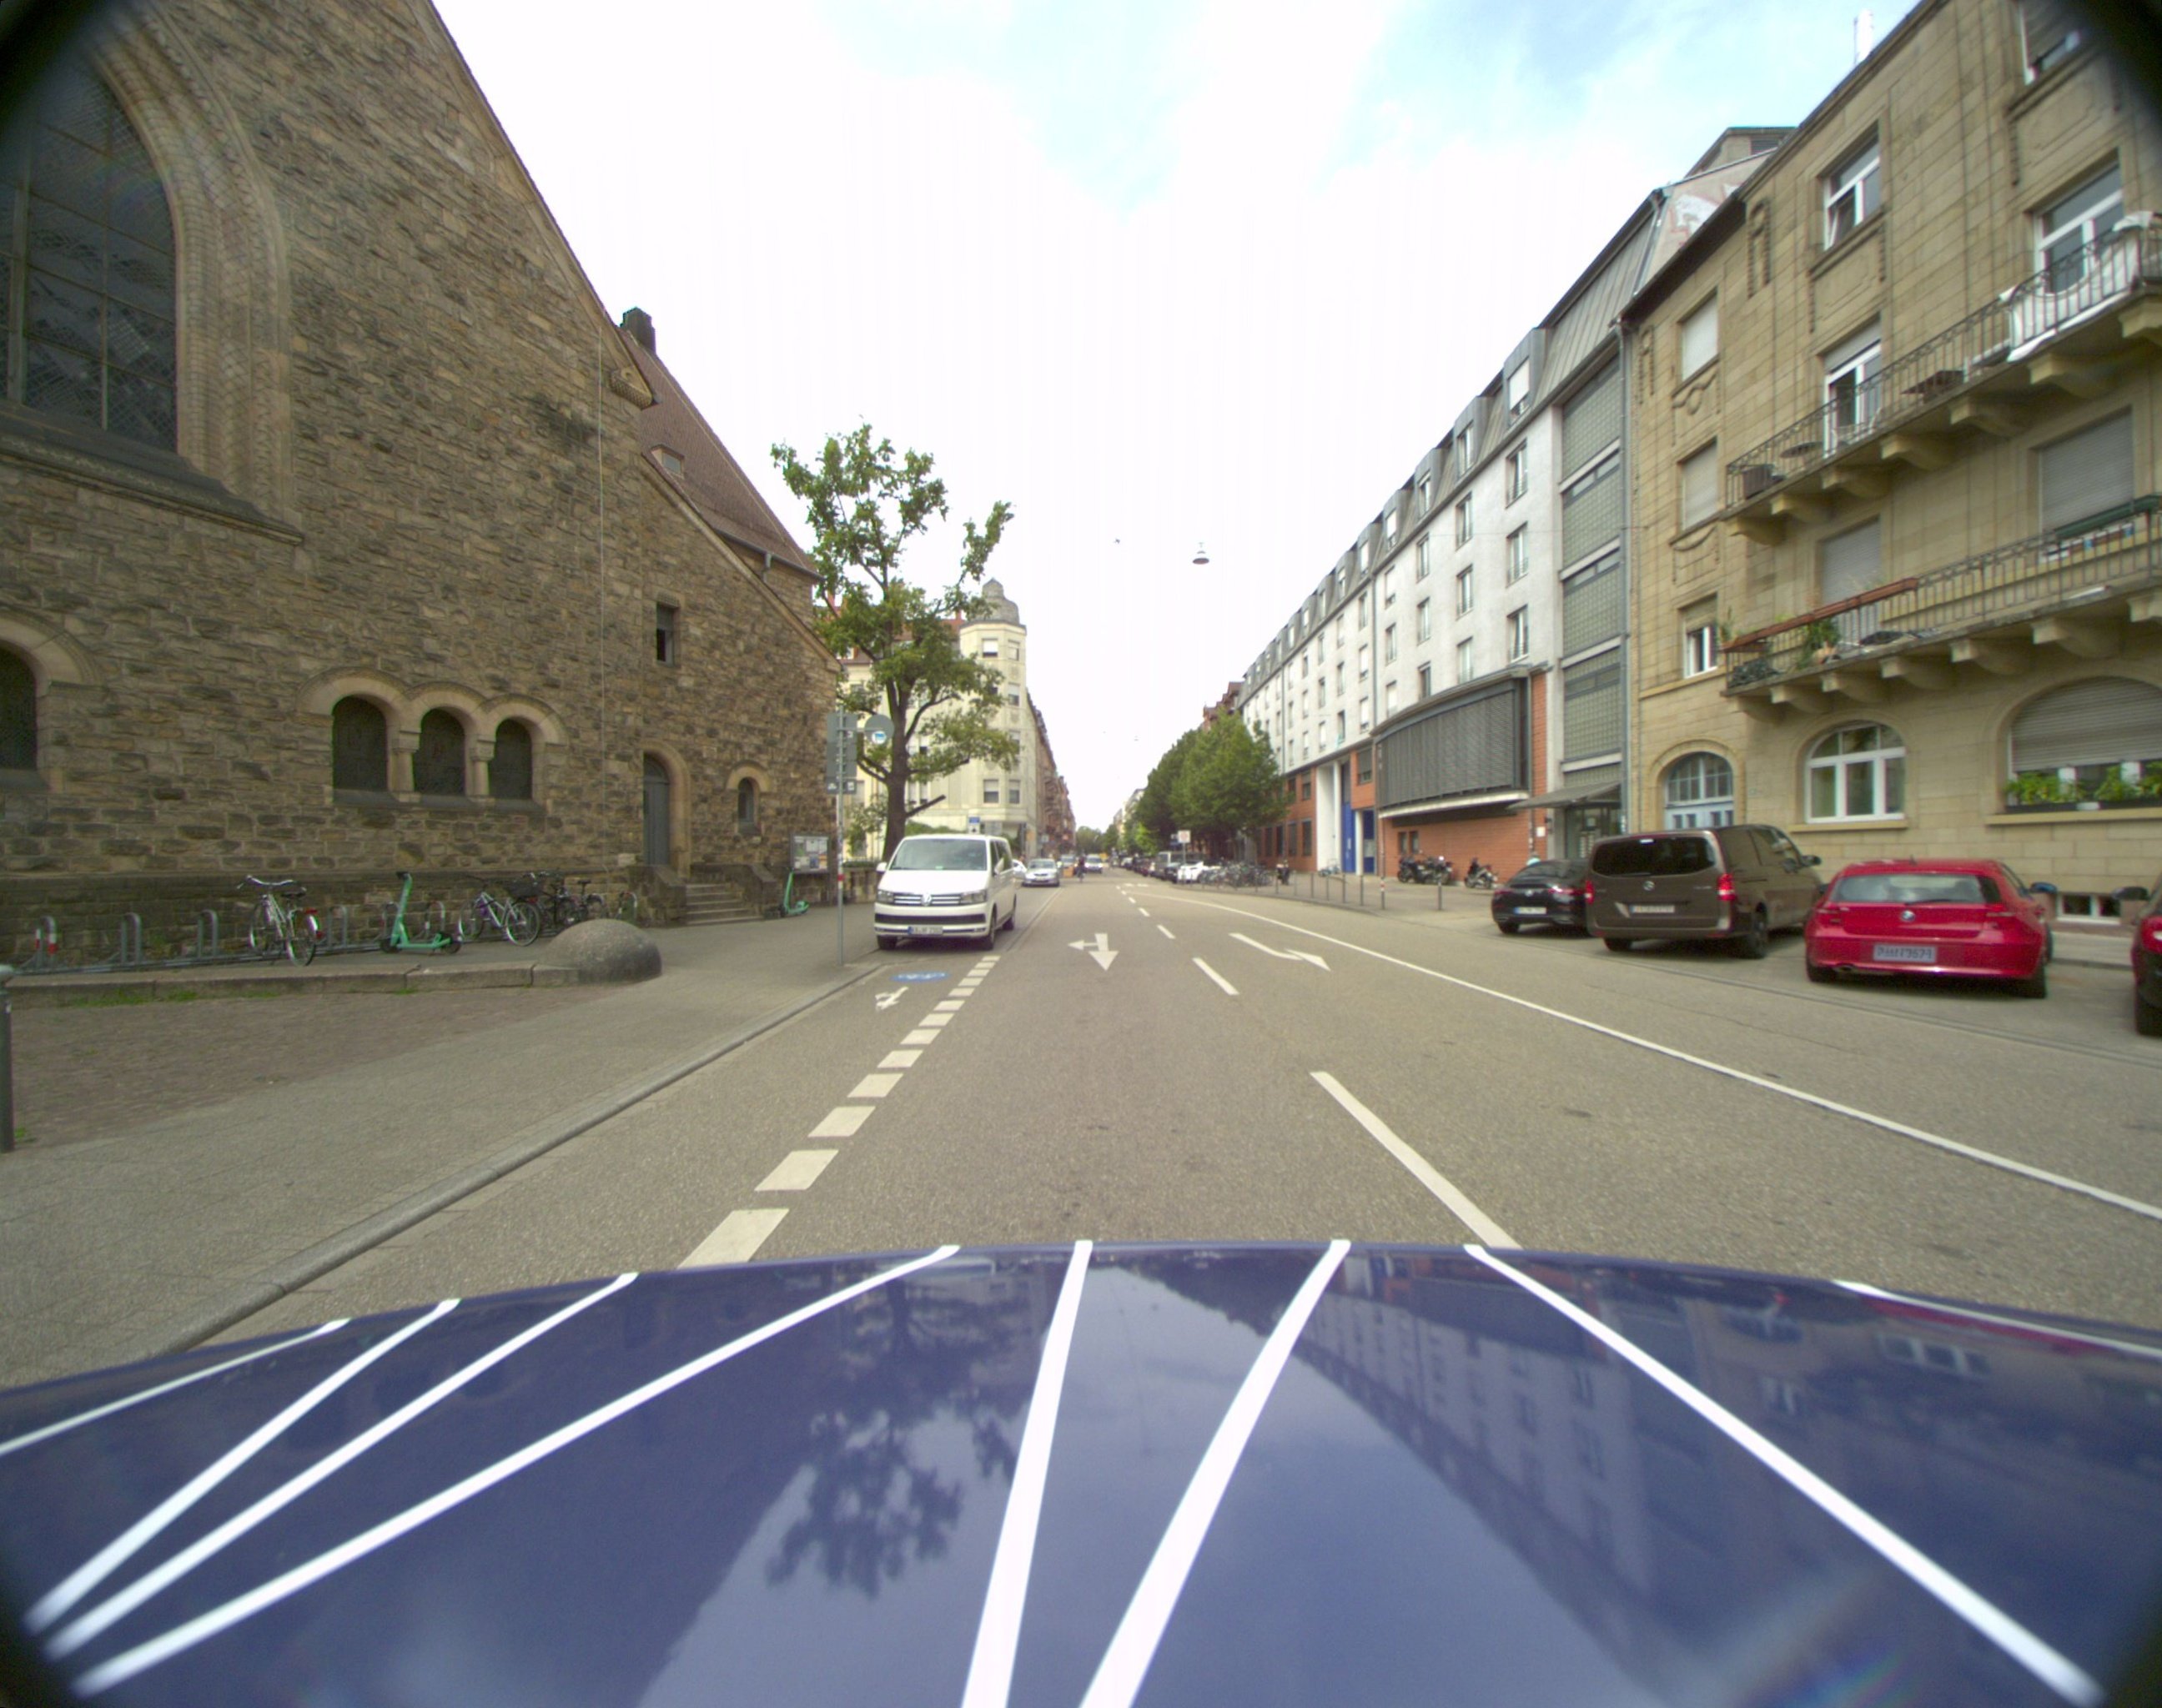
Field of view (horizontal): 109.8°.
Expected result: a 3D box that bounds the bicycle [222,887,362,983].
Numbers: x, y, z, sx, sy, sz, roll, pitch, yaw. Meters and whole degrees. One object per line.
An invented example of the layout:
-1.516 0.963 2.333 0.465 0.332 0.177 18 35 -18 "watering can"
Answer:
-10.047 0.996 9.671 1.778 1.105 0.547 0 0 20 "bicycle"

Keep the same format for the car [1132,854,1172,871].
7.782 0.942 83.216 4.052 1.846 1.687 -1 -1 -32 "car"

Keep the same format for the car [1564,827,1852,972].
10.236 0.574 12.270 5.280 1.899 2.116 -1 0 -33 "car"

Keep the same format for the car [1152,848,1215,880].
7.126 0.682 52.719 4.011 1.986 1.857 -3 1 -30 "car"

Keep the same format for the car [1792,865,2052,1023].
10.091 0.864 9.035 4.020 1.401 1.792 -1 0 -38 "car"

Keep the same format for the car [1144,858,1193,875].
7.361 1.054 63.887 4.012 1.381 1.592 -1 -1 -32 "car"

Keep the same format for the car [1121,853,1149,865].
8.094 0.755 114.371 4.012 1.746 1.687 -1 -1 -32 "car"

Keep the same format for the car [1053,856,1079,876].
-1.298 1.090 68.049 1.853 1.661 4.008 -1 -1 5 "car"

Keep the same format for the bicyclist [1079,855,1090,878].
0.205 0.754 47.213 0.649 1.408 1.094 -1 0 2 "bicyclist"

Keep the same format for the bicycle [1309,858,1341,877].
14.177 0.786 44.218 1.613 0.920 0.932 -6 -1 13 "bicycle"

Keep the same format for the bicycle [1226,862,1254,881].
8.582 0.937 40.977 1.409 1.020 0.402 -1 0 3 "bicycle"

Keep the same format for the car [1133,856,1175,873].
7.440 1.046 76.893 4.012 1.558 1.687 -1 -1 -32 "car"

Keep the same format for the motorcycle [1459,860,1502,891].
14.222 0.758 27.088 0.585 1.042 1.794 -2 0 2 "motorcycle"

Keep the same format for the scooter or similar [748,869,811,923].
-7.156 0.981 18.094 0.545 1.200 1.483 0 0 21 "scooter or similar"

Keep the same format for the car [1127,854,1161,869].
7.979 0.951 96.339 4.012 1.846 1.687 -1 -1 -32 "car"

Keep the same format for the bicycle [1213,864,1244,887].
7.136 1.052 36.762 1.409 1.032 0.402 -3 0 3 "bicycle"

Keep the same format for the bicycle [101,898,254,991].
-10.497 1.018 8.824 1.778 0.951 0.547 0 0 20 "bicycle"

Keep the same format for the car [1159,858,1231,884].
7.082 1.022 46.936 4.324 1.460 1.713 -1 0 -33 "car"

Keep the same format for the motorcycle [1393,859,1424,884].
14.310 0.756 33.209 0.585 1.042 1.657 -2 0 0 "motorcycle"

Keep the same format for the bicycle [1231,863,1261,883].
8.506 0.972 39.208 1.409 1.020 0.402 -1 0 3 "bicycle"

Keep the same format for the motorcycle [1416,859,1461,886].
14.462 0.733 30.789 0.585 1.042 1.965 -2 0 -10 "motorcycle"

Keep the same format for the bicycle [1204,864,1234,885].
7.044 1.042 38.766 1.409 1.032 0.402 -3 0 3 "bicycle"

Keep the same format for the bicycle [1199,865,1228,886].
7.082 1.132 40.681 1.409 1.020 0.402 -3 0 3 "bicycle"

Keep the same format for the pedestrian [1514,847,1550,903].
12.104 0.567 20.407 0.662 1.477 0.509 -1 0 -9 "pedestrian"

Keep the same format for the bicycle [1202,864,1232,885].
7.050 1.065 39.408 1.409 1.020 0.402 -3 0 3 "bicycle"

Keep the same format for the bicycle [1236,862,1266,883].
8.581 0.942 38.389 1.409 1.020 0.402 -1 0 3 "bicycle"

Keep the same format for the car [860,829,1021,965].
-2.312 0.628 13.937 2.019 2.017 5.122 1 0 0 "car"

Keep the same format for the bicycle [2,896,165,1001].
-10.780 0.983 8.207 1.778 0.952 0.547 2 1 20 "bicycle"

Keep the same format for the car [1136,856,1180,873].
7.545 1.009 74.270 4.012 1.558 1.687 -1 -1 -32 "car"

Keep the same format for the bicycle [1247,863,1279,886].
8.670 0.966 36.123 1.409 1.020 0.402 -1 0 3 "bicycle"

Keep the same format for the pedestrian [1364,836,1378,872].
16.252 0.007 42.611 0.729 2.002 0.783 0 0 20 "pedestrian"

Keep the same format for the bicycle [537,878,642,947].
-8.464 0.981 13.082 1.778 1.105 0.547 0 0 20 "bicycle"

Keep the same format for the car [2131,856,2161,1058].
10.227 0.777 6.316 4.004 1.494 1.627 -1 0 -34 "car"

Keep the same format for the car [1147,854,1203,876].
7.232 0.814 58.278 4.012 1.605 1.708 -1 -1 -32 "car"

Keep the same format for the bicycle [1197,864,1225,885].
7.097 1.120 41.489 1.409 1.020 0.402 -3 0 3 "bicycle"

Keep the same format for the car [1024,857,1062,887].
-1.910 0.888 39.690 1.759 1.460 4.418 0 0 0 "car"

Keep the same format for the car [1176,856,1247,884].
7.661 0.919 44.430 4.012 1.536 1.599 -1 0 -30 "car"

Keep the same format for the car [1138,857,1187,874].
7.118 0.992 66.000 4.012 1.445 1.687 -1 -1 -32 "car"

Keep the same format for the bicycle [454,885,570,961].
-8.905 1.052 11.892 1.778 1.105 0.547 0 0 20 "bicycle"

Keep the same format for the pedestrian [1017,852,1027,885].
-3.084 0.768 39.628 0.468 1.725 0.410 0 0 0 "pedestrian"

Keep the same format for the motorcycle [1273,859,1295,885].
9.762 0.860 36.559 0.585 1.166 1.780 -2 0 3 "motorcycle"

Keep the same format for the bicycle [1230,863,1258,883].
8.511 0.987 39.694 1.409 1.020 0.402 -1 0 3 "bicycle"

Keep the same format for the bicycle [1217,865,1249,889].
7.179 1.083 35.869 1.409 1.032 0.402 -3 0 3 "bicycle"

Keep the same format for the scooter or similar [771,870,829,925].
-6.546 0.996 17.789 0.545 1.200 1.444 0 0 14 "scooter or similar"

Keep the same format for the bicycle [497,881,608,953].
-8.673 1.010 12.465 1.771 1.105 0.547 0 0 20 "bicycle"

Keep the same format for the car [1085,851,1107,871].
1.532 0.722 77.987 1.942 1.913 4.008 -1 -1 5 "car"

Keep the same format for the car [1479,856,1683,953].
9.991 0.892 15.042 4.679 1.401 1.895 -4 0 -38 "car"

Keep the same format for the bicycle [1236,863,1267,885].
8.510 0.988 37.905 1.409 1.020 0.402 -1 0 3 "bicycle"

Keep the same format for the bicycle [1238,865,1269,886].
8.482 1.055 37.370 1.409 1.020 0.402 -1 0 3 "bicycle"

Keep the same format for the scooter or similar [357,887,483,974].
-9.394 1.056 10.794 1.778 1.133 0.547 0 0 20 "scooter or similar"

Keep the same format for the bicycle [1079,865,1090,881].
0.219 1.166 47.087 0.586 0.927 1.783 -1 -1 2 "bicycle"
